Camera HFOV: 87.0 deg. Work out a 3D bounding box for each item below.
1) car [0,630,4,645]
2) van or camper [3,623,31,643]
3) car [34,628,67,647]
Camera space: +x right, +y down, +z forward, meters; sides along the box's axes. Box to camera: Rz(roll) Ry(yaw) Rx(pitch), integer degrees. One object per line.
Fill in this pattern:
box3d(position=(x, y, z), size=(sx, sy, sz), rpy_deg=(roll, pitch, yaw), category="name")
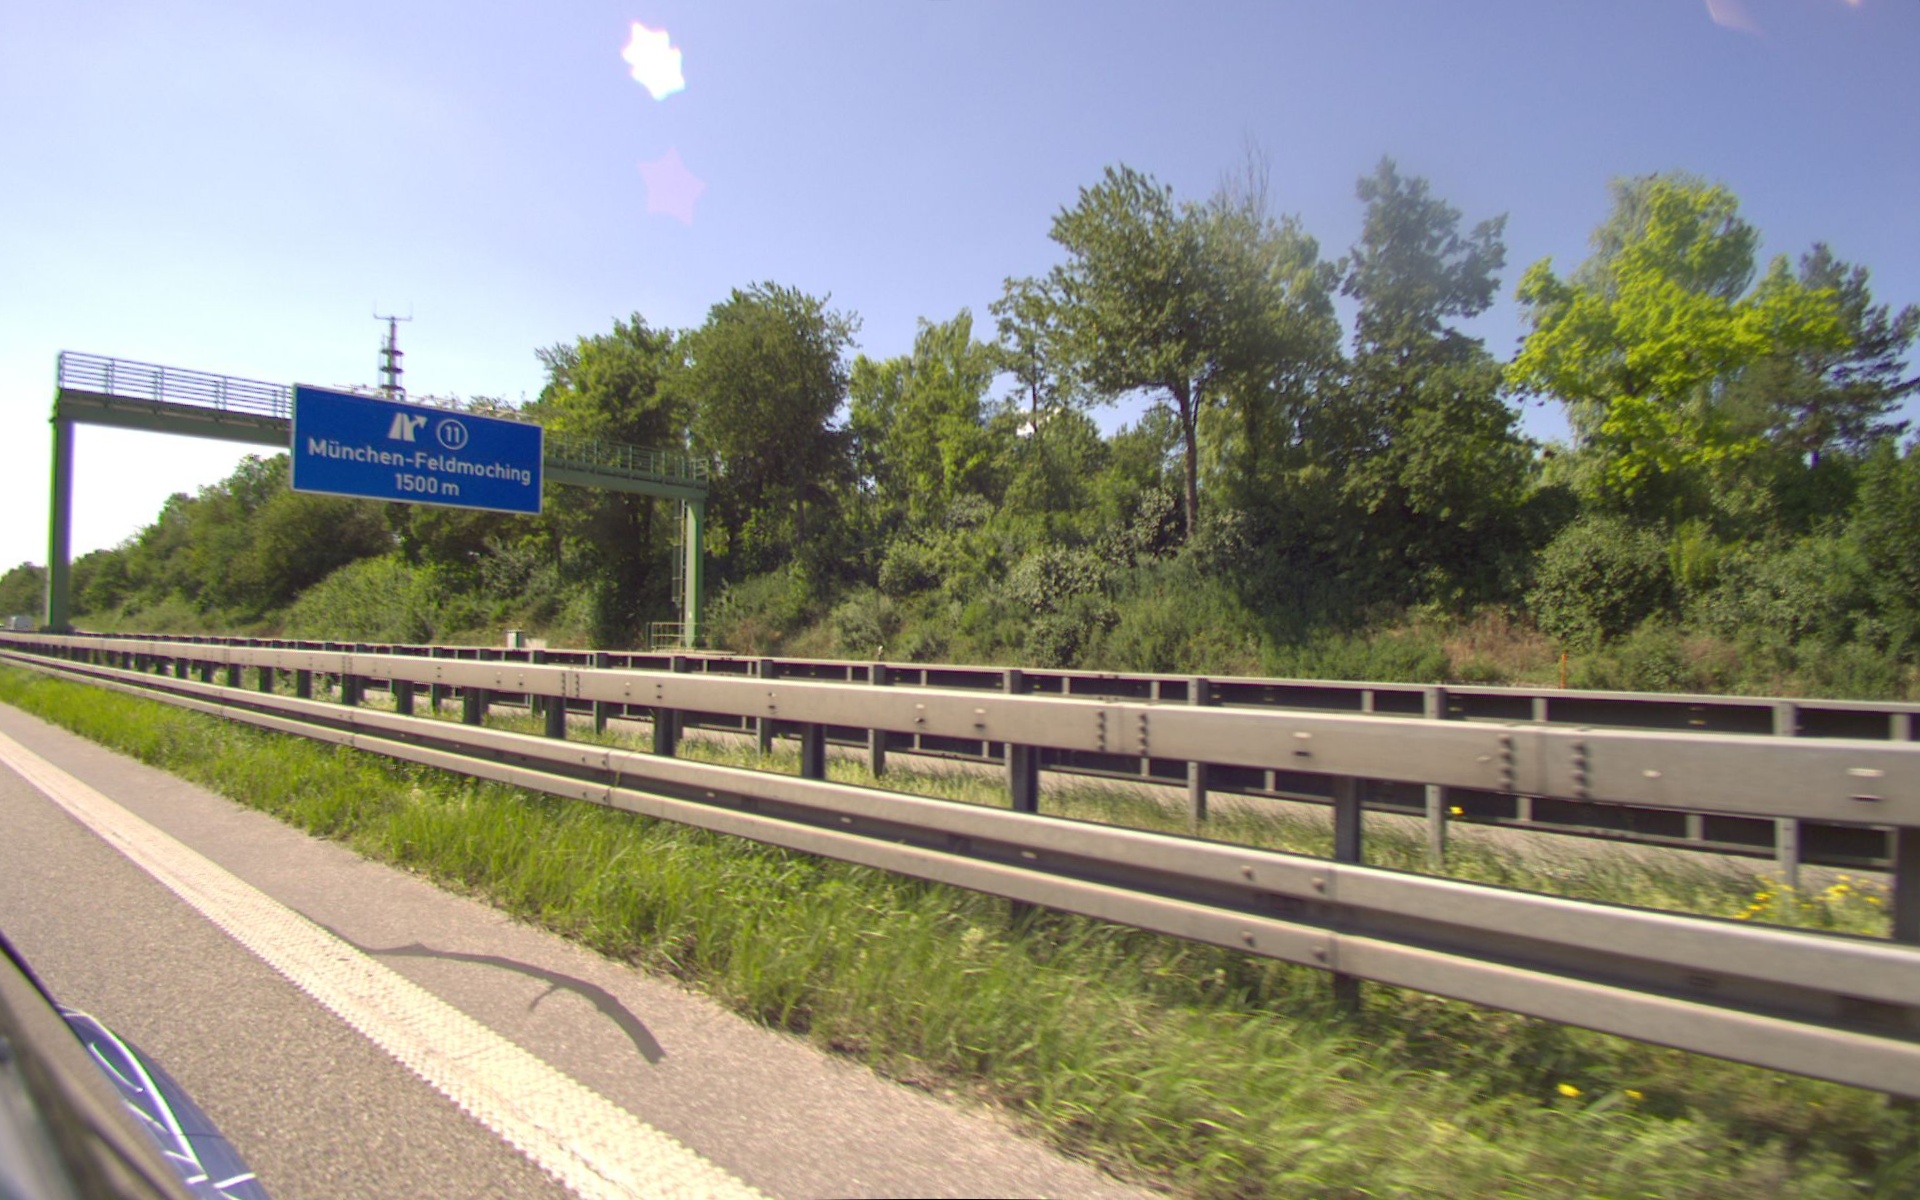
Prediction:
box3d(position=(-108.942, 4.160, 113.581), size=(5.307, 1.622, 1.859), rpy_deg=(-2, -4, 41), category="car")
box3d(position=(-124.840, 4.405, 133.930), size=(6.195, 2.579, 2.016), rpy_deg=(-2, -4, 42), category="van or camper")
box3d(position=(-76.279, 3.139, 84.896), size=(3.882, 1.475, 1.647), rpy_deg=(-2, -5, 43), category="car")
